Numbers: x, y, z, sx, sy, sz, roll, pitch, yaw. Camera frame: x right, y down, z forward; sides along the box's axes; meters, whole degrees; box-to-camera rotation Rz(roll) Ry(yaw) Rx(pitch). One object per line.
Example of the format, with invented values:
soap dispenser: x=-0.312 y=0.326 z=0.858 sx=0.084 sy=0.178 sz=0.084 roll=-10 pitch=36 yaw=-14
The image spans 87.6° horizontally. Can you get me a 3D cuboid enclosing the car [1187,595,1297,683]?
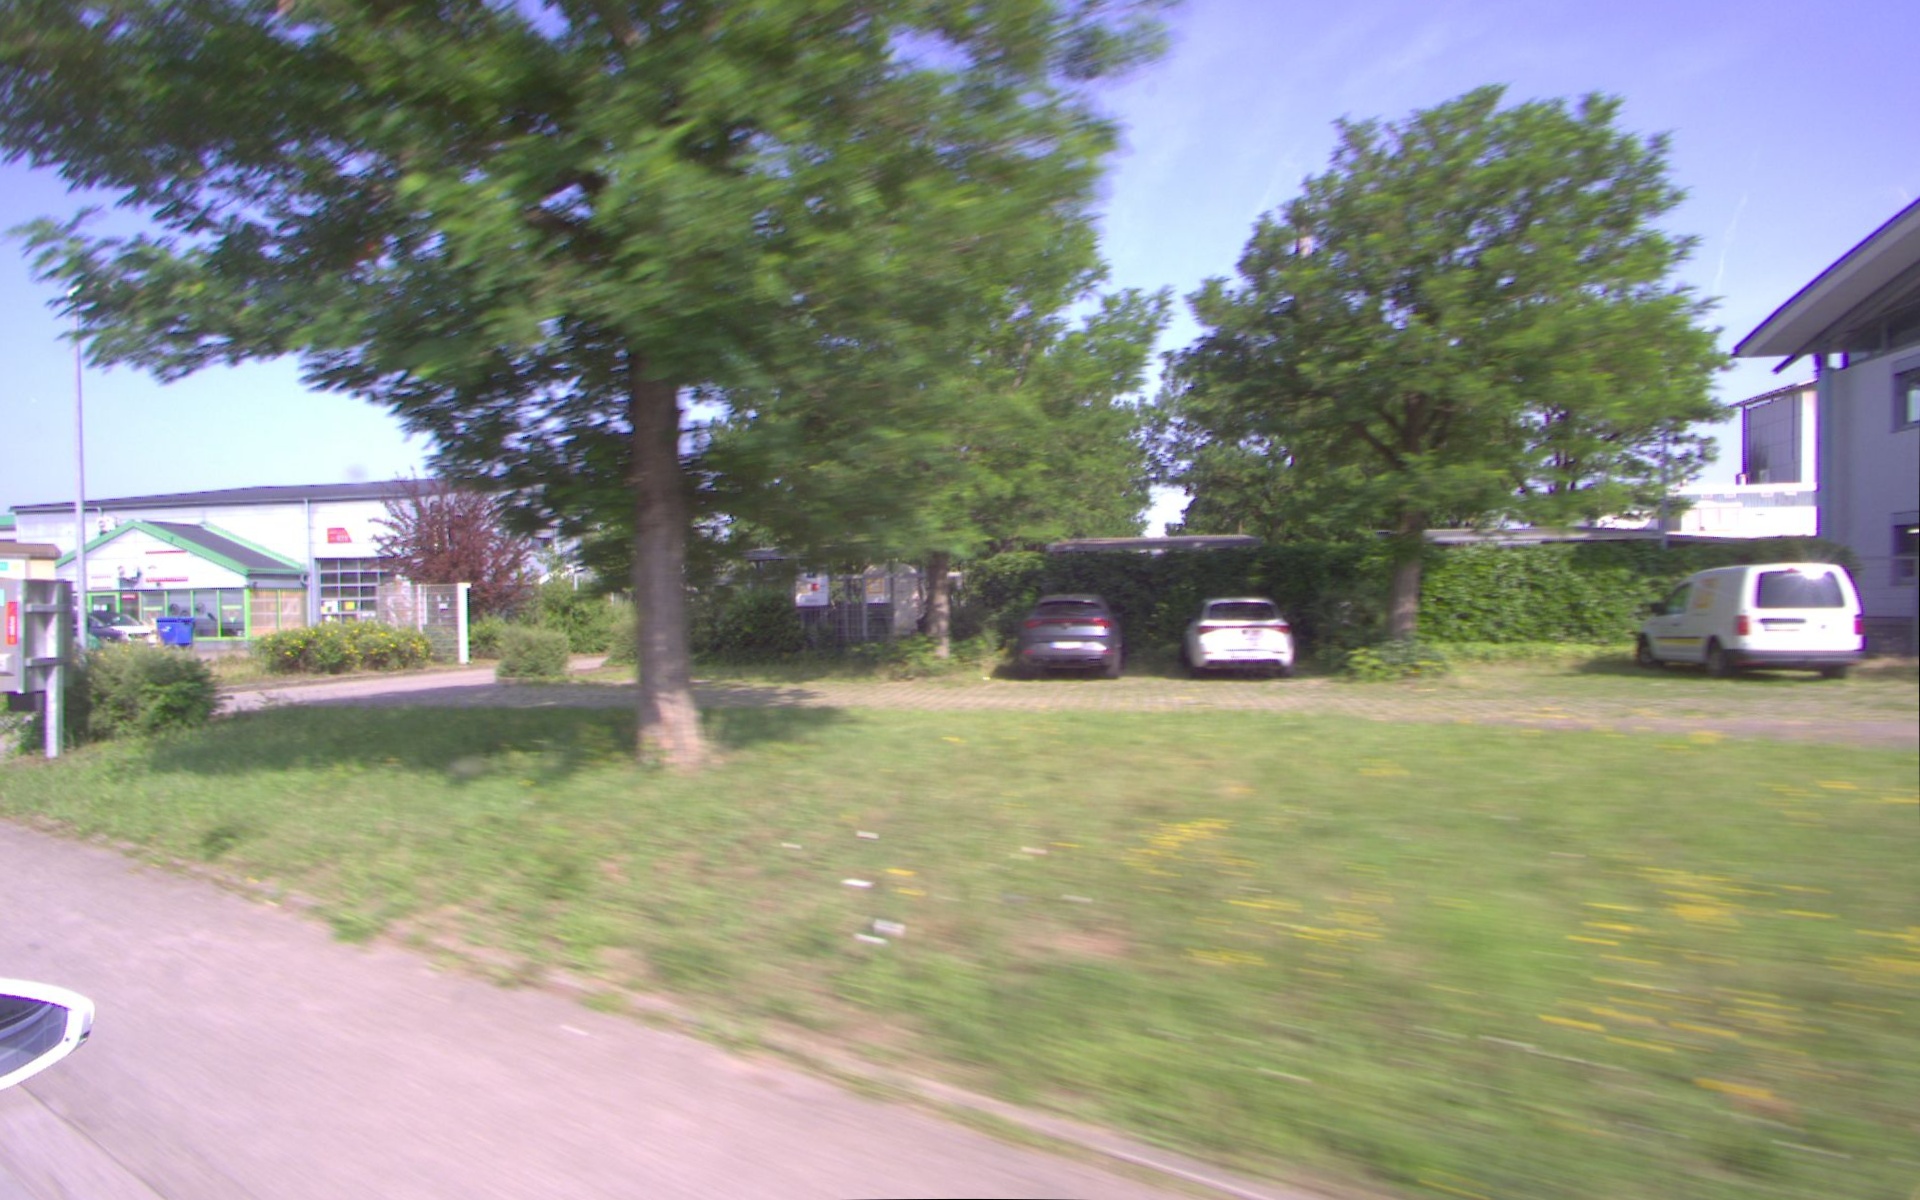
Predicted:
car: x=5.093 y=0.636 z=18.510 sx=1.709 sy=1.424 sz=4.038 roll=0 pitch=0 yaw=12

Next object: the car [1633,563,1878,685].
car: x=13.024 y=0.359 z=16.715 sx=1.720 sy=1.774 sz=3.909 roll=0 pitch=0 yaw=14

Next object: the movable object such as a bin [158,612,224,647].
movable object such as a bin: x=-30.520 y=1.155 z=39.734 sx=1.970 sy=1.364 sz=0.999 roll=0 pitch=1 yaw=11

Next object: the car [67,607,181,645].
car: x=-30.838 y=0.954 z=36.980 sx=3.128 sy=1.363 sz=1.584 roll=0 pitch=1 yaw=11

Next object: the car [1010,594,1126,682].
car: x=2.149 y=0.631 z=18.971 sx=1.766 sy=1.483 sz=4.038 roll=0 pitch=0 yaw=12

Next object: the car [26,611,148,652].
car: x=-30.359 y=1.069 z=34.864 sx=3.128 sy=1.363 sz=1.584 roll=0 pitch=1 yaw=11
